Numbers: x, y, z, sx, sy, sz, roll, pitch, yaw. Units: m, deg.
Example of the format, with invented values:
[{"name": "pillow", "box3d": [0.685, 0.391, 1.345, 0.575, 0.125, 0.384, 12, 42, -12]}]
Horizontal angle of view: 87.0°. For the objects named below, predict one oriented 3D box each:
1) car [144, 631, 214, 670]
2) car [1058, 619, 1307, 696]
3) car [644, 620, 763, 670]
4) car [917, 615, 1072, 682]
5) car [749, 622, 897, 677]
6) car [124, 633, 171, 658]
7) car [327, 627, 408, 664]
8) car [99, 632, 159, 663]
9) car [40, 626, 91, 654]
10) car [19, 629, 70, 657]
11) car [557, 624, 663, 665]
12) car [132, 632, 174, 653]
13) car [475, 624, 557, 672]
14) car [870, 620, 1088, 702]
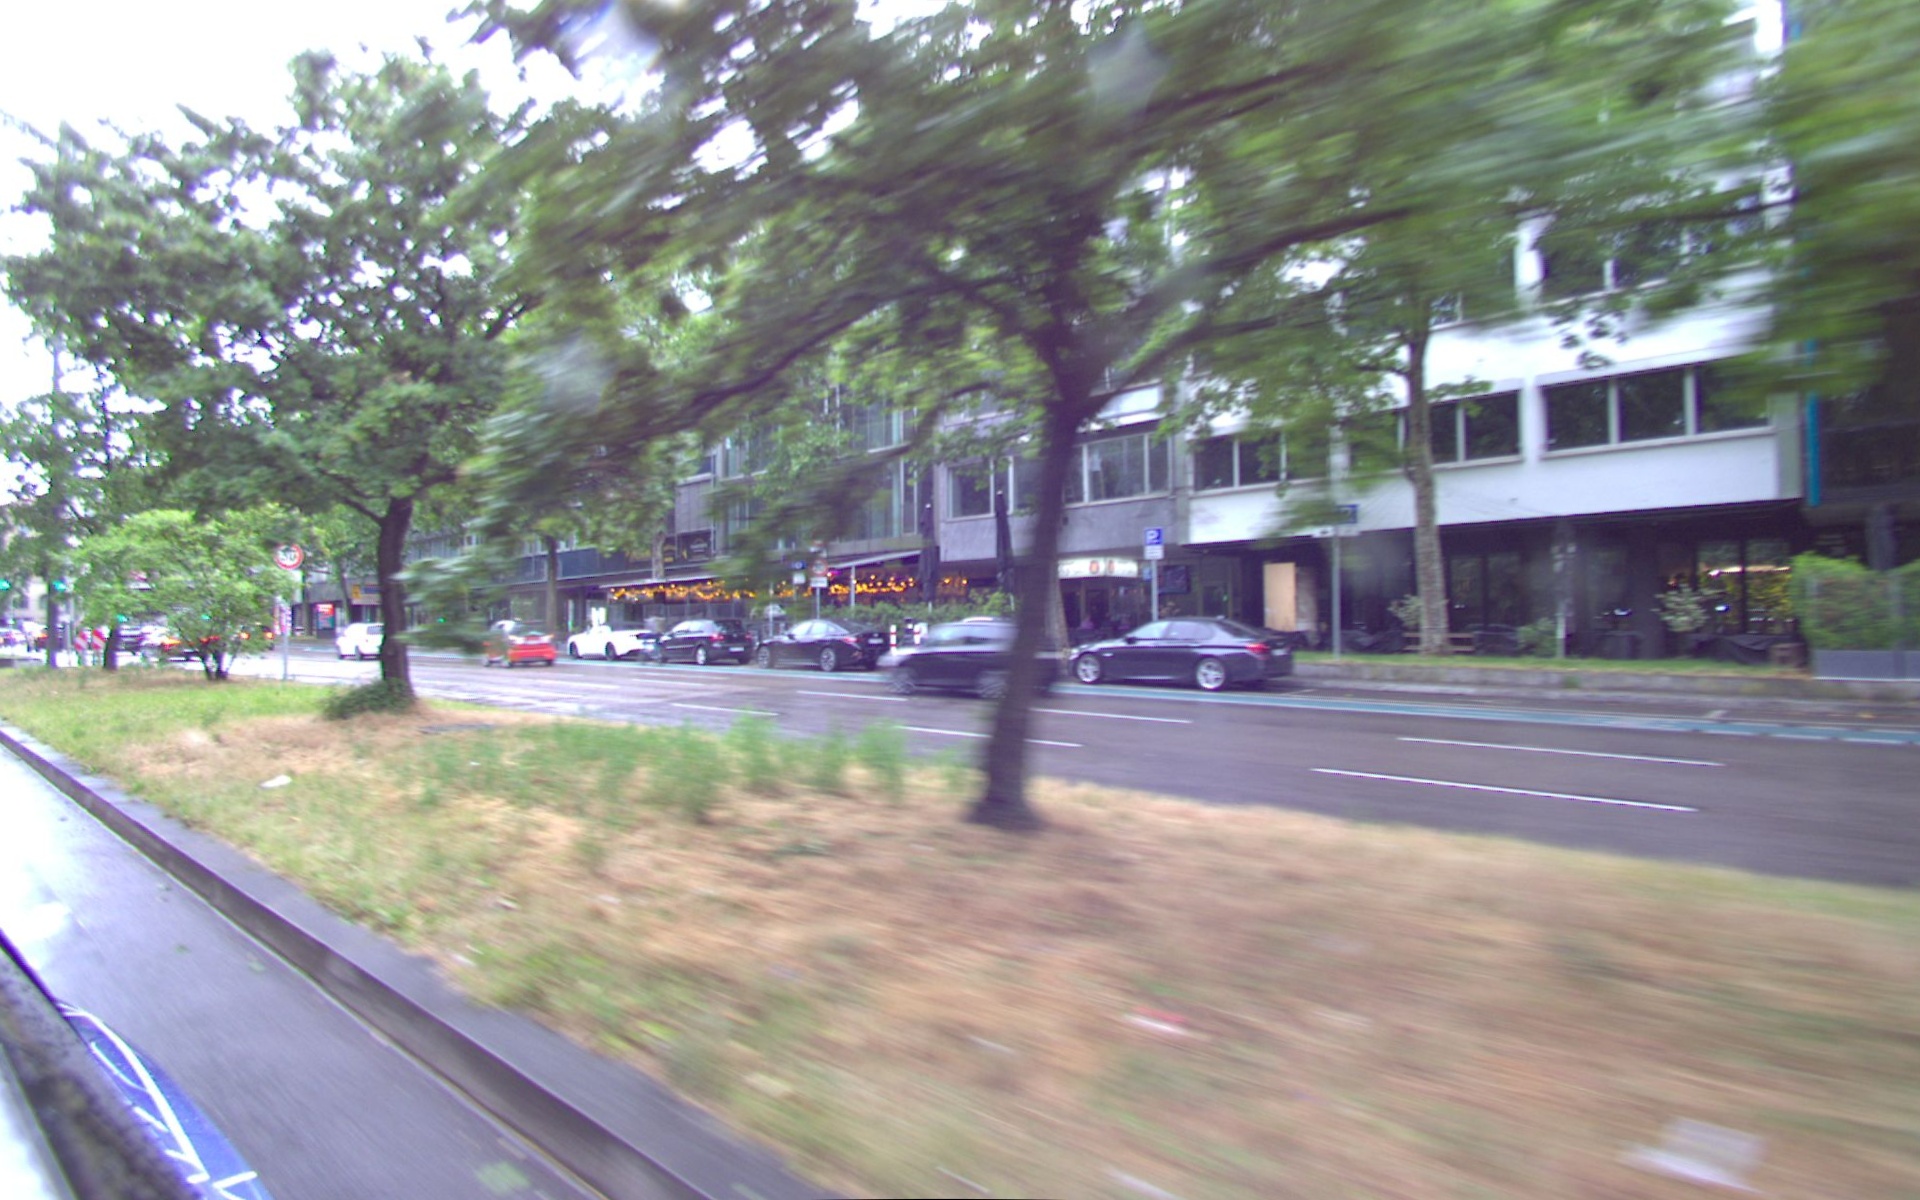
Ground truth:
[{"name": "car", "box3d": [-33.333, 2.106, 43.153, 4.096, 1.487, 1.730, -1, 0, 43]}, {"name": "car", "box3d": [4.490, 1.158, 21.040, 4.905, 1.420, 1.674, -3, -2, 43]}, {"name": "car", "box3d": [-8.372, 1.458, 32.860, 3.998, 1.519, 1.817, -3, -2, 42]}, {"name": "car", "box3d": [0.790, 1.145, 24.337, 3.458, 1.480, 1.675, -3, -2, 42]}, {"name": "car", "box3d": [-3.950, 1.384, 28.684, 4.454, 1.420, 1.675, -3, -2, 42]}, {"name": "car", "box3d": [-50.601, 2.787, 63.000, 4.570, 1.502, 1.700, -2, -2, 43]}, {"name": "car", "box3d": [-24.121, 1.851, 41.189, 3.641, 1.440, 1.824, -3, -2, 42]}, {"name": "car", "box3d": [-42.018, 2.395, 51.129, 4.095, 1.487, 1.731, -2, -2, 42]}, {"name": "car", "box3d": [-52.578, 2.366, 59.472, 4.830, 1.585, 1.716, -3, -2, 42]}, {"name": "car", "box3d": [-60.588, 2.849, 66.927, 5.104, 1.780, 1.817, -2, -2, 40]}, {"name": "car", "box3d": [-12.688, 1.601, 36.558, 4.681, 1.364, 1.543, -3, -2, 42]}, {"name": "car", "box3d": [-60.791, 3.186, 76.203, 3.997, 1.577, 1.735, -2, -2, 41]}, {"name": "car", "box3d": [-14.406, 1.535, 32.796, 2.731, 1.474, 1.477, -2, -2, 43]}, {"name": "car", "box3d": [0.295, 1.115, 19.469, 3.998, 1.400, 1.824, -2, -2, 42]}]
